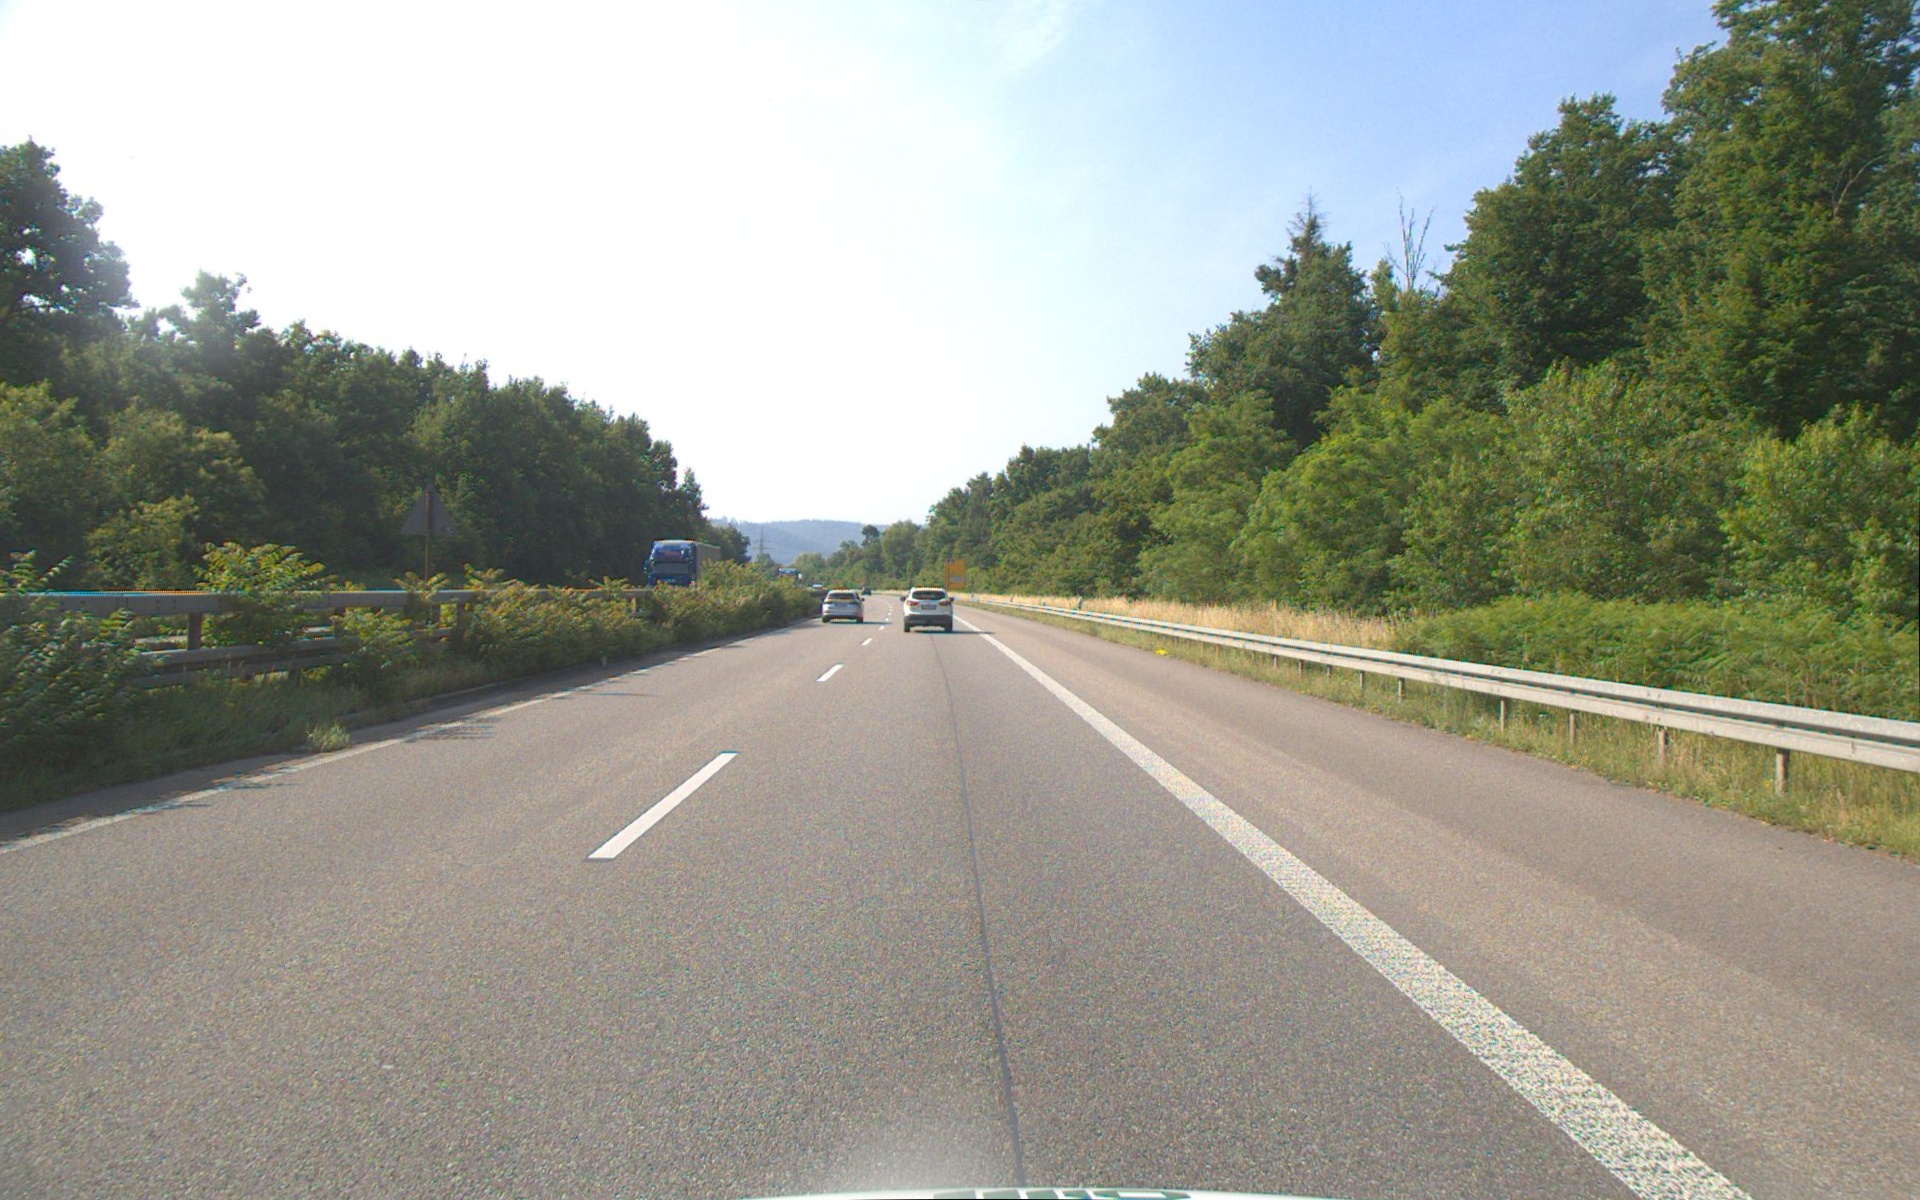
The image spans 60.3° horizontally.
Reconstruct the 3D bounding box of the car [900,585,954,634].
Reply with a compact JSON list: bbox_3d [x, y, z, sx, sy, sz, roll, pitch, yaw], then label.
[{"bbox_3d":[-1.222,0.318,60.495,1.836,1.613,3.999,3,1,-1],"label":"car"}]

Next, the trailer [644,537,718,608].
[{"bbox_3d":[-16.923,-1.618,101.172,2.774,4.068,11.431,1,0,-1],"label":"trailer"}]

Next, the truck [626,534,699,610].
[{"bbox_3d":[-16.823,-1.545,93.965,2.728,4.068,8.414,1,0,-1],"label":"truck"}]

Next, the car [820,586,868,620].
[{"bbox_3d":[-5.213,0.111,75.060,1.755,1.463,5.279,0,1,0],"label":"car"}]
